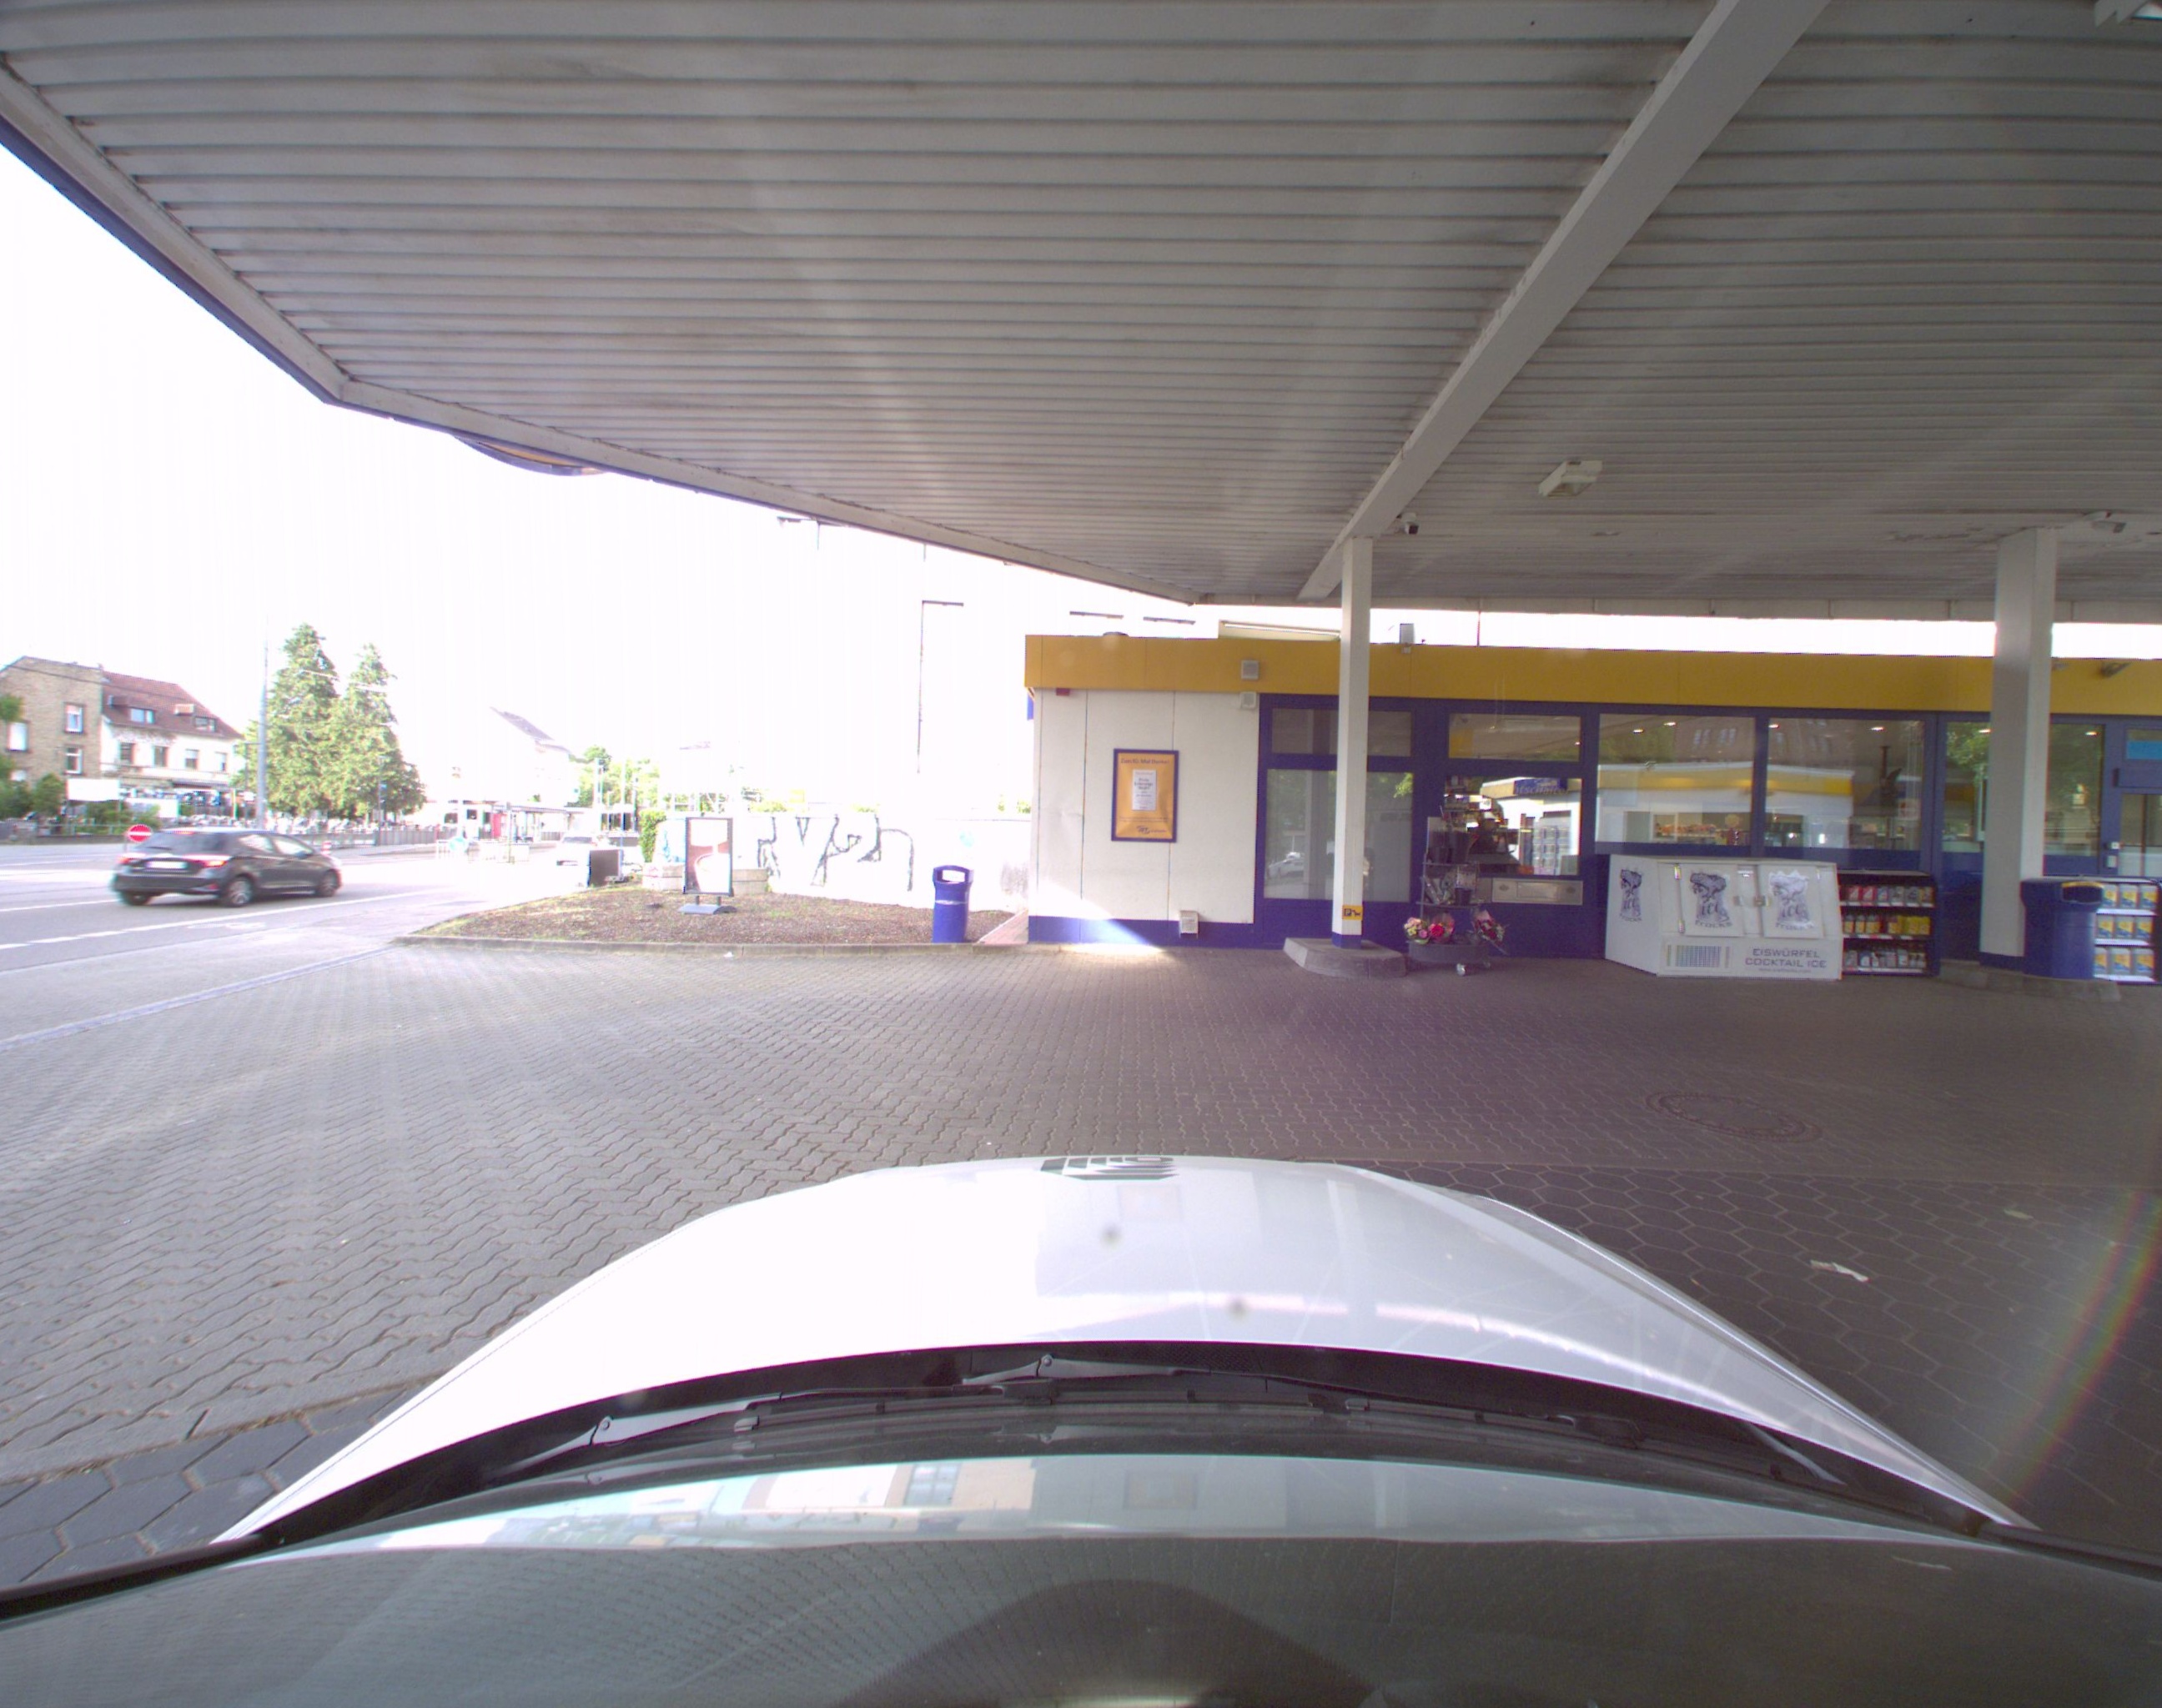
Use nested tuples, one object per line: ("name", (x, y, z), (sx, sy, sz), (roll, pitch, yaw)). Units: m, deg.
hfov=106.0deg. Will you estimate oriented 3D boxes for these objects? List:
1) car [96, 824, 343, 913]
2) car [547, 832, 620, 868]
("car", (-17.101, 0.222, 16.456), (1.670, 1.547, 3.692), (2, 1, -15))
("car", (-21.457, -0.218, 35.278), (1.670, 1.400, 3.692), (2, 1, -15))
